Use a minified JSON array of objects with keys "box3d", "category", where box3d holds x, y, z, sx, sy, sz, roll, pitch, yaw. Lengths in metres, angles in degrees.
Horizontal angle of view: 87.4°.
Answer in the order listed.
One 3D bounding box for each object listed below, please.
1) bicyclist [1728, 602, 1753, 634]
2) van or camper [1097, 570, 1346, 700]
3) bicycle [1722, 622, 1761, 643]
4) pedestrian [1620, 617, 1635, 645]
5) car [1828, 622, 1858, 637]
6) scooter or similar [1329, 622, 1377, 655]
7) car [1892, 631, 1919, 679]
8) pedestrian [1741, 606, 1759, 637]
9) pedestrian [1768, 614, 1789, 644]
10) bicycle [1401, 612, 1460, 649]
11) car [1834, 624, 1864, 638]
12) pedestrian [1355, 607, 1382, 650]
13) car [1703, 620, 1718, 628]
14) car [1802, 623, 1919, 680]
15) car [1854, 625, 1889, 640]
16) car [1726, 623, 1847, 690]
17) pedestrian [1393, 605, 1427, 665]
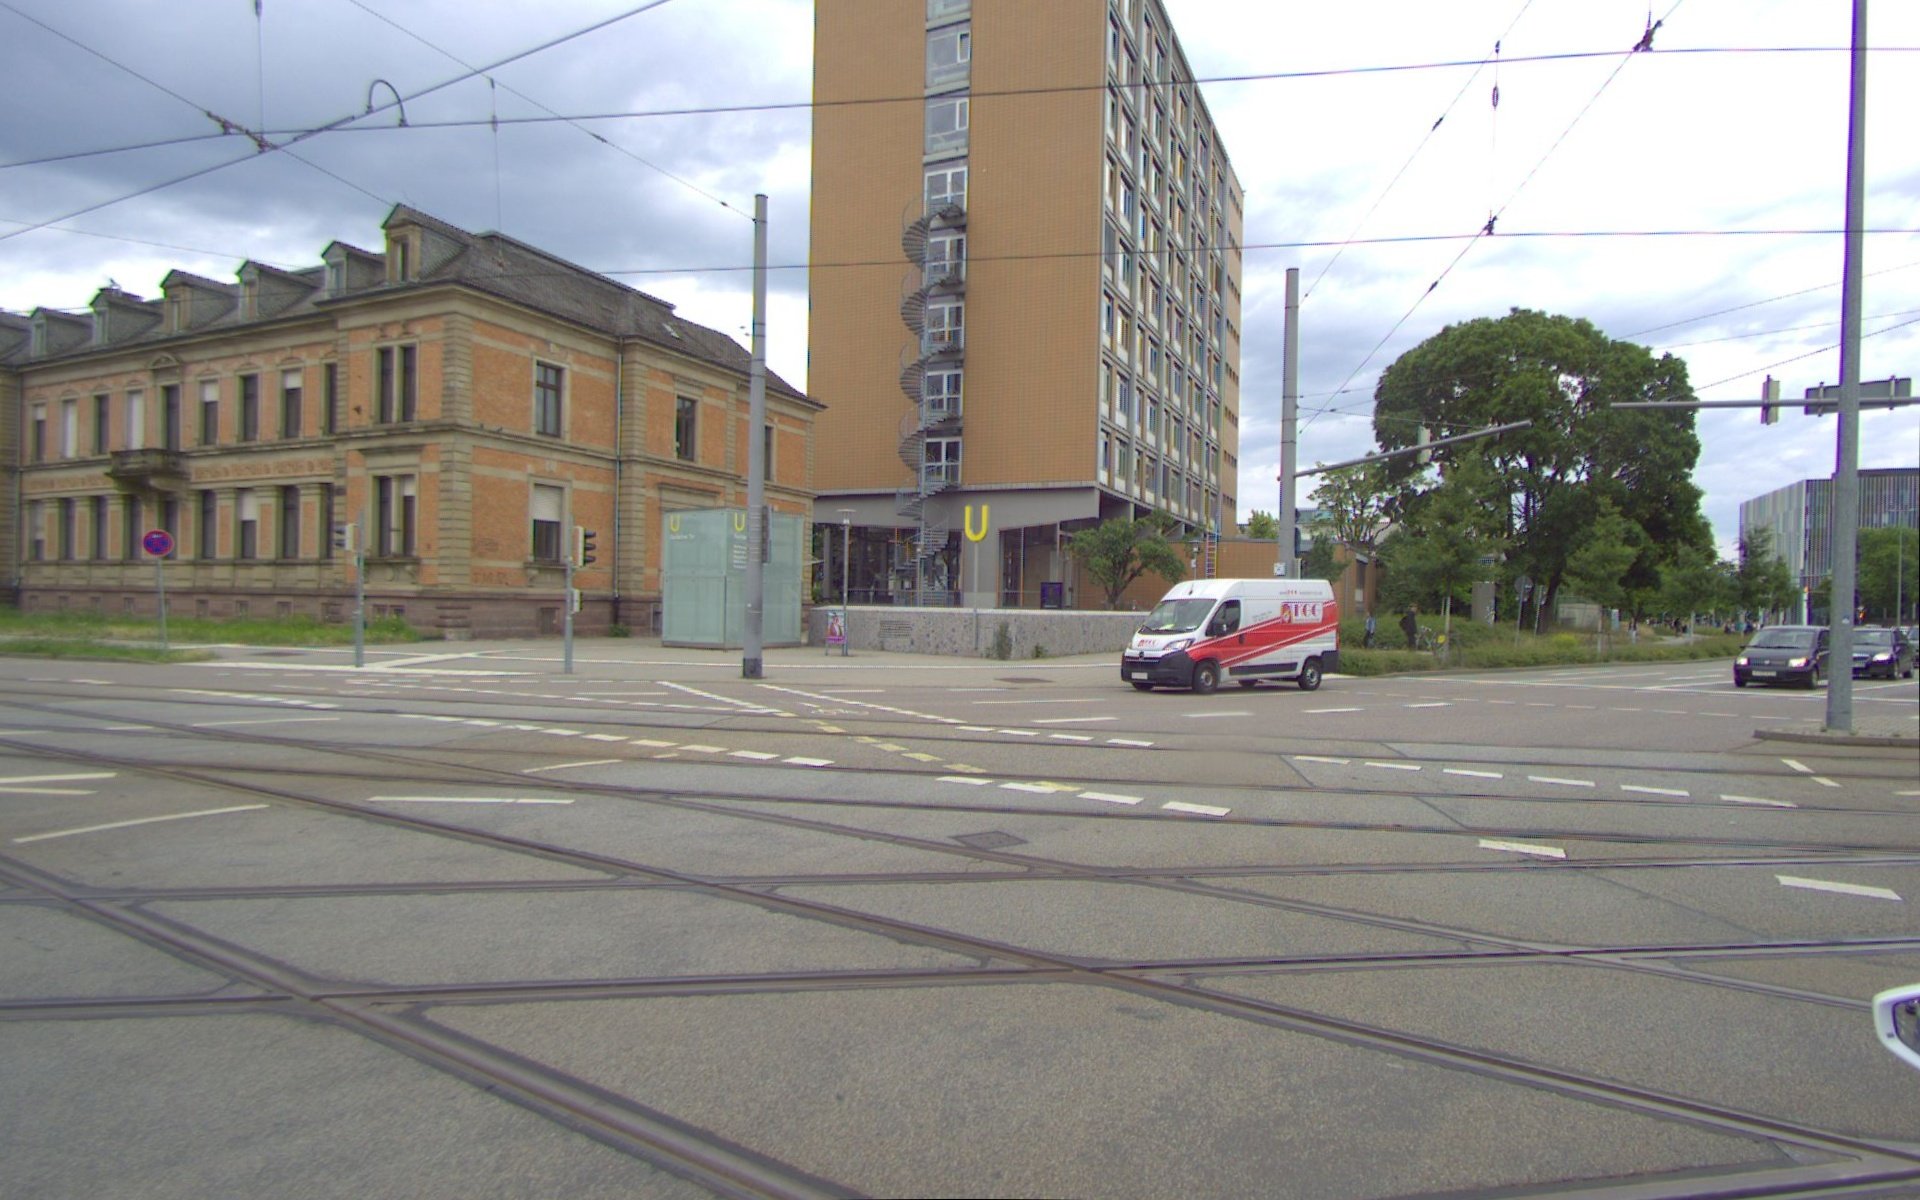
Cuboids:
[{"box3d":[46.032,1.049,59.237,0.819,1.869,0.790,1,0,-13],"category":"bicyclist"},{"box3d":[5.897,0.751,22.390,5.514,2.561,2.266,1,-1,-33],"category":"van or camper"},{"box3d":[46.084,1.920,59.251,1.873,1.174,0.790,1,0,-12],"category":"bicycle"},{"box3d":[38.052,1.780,57.257,0.750,1.562,0.556,1,0,-43],"category":"pedestrian"},{"box3d":[108.029,3.610,122.939,1.965,1.704,4.003,0,0,29],"category":"car"},{"box3d":[16.752,1.621,42.834,1.749,1.320,0.627,1,0,40],"category":"scooter or similar"},{"box3d":[37.350,2.076,38.494,4.674,1.748,1.855,2,-1,-40],"category":"car"},{"box3d":[47.529,1.307,60.432,0.760,1.867,0.750,1,-1,-42],"category":"pedestrian"},{"box3d":[50.657,1.794,62.135,0.662,1.867,0.885,1,0,-42],"category":"pedestrian"},{"box3d":[19.791,1.288,42.271,2.216,1.468,0.847,1,0,-14],"category":"bicycle"},{"box3d":[113.976,3.962,128.841,1.963,1.773,3.995,1,-1,28],"category":"car"},{"box3d":[16.795,1.164,41.321,0.679,1.757,0.742,1,0,-33],"category":"pedestrian"},{"box3d":[132.471,4.199,177.303,1.685,1.282,3.335,1,-1,27],"category":"car"},{"box3d":[26.432,1.465,29.392,4.439,1.528,1.856,1,-2,-38],"category":"car"},{"box3d":[103.522,3.676,114.148,1.963,1.662,3.994,1,-1,28],"category":"car"},{"box3d":[20.621,1.362,25.016,3.632,1.535,1.606,1,-1,-38],"category":"car"},{"box3d":[15.176,1.172,33.889,0.651,2.007,0.814,1,0,-33],"category":"pedestrian"}]
